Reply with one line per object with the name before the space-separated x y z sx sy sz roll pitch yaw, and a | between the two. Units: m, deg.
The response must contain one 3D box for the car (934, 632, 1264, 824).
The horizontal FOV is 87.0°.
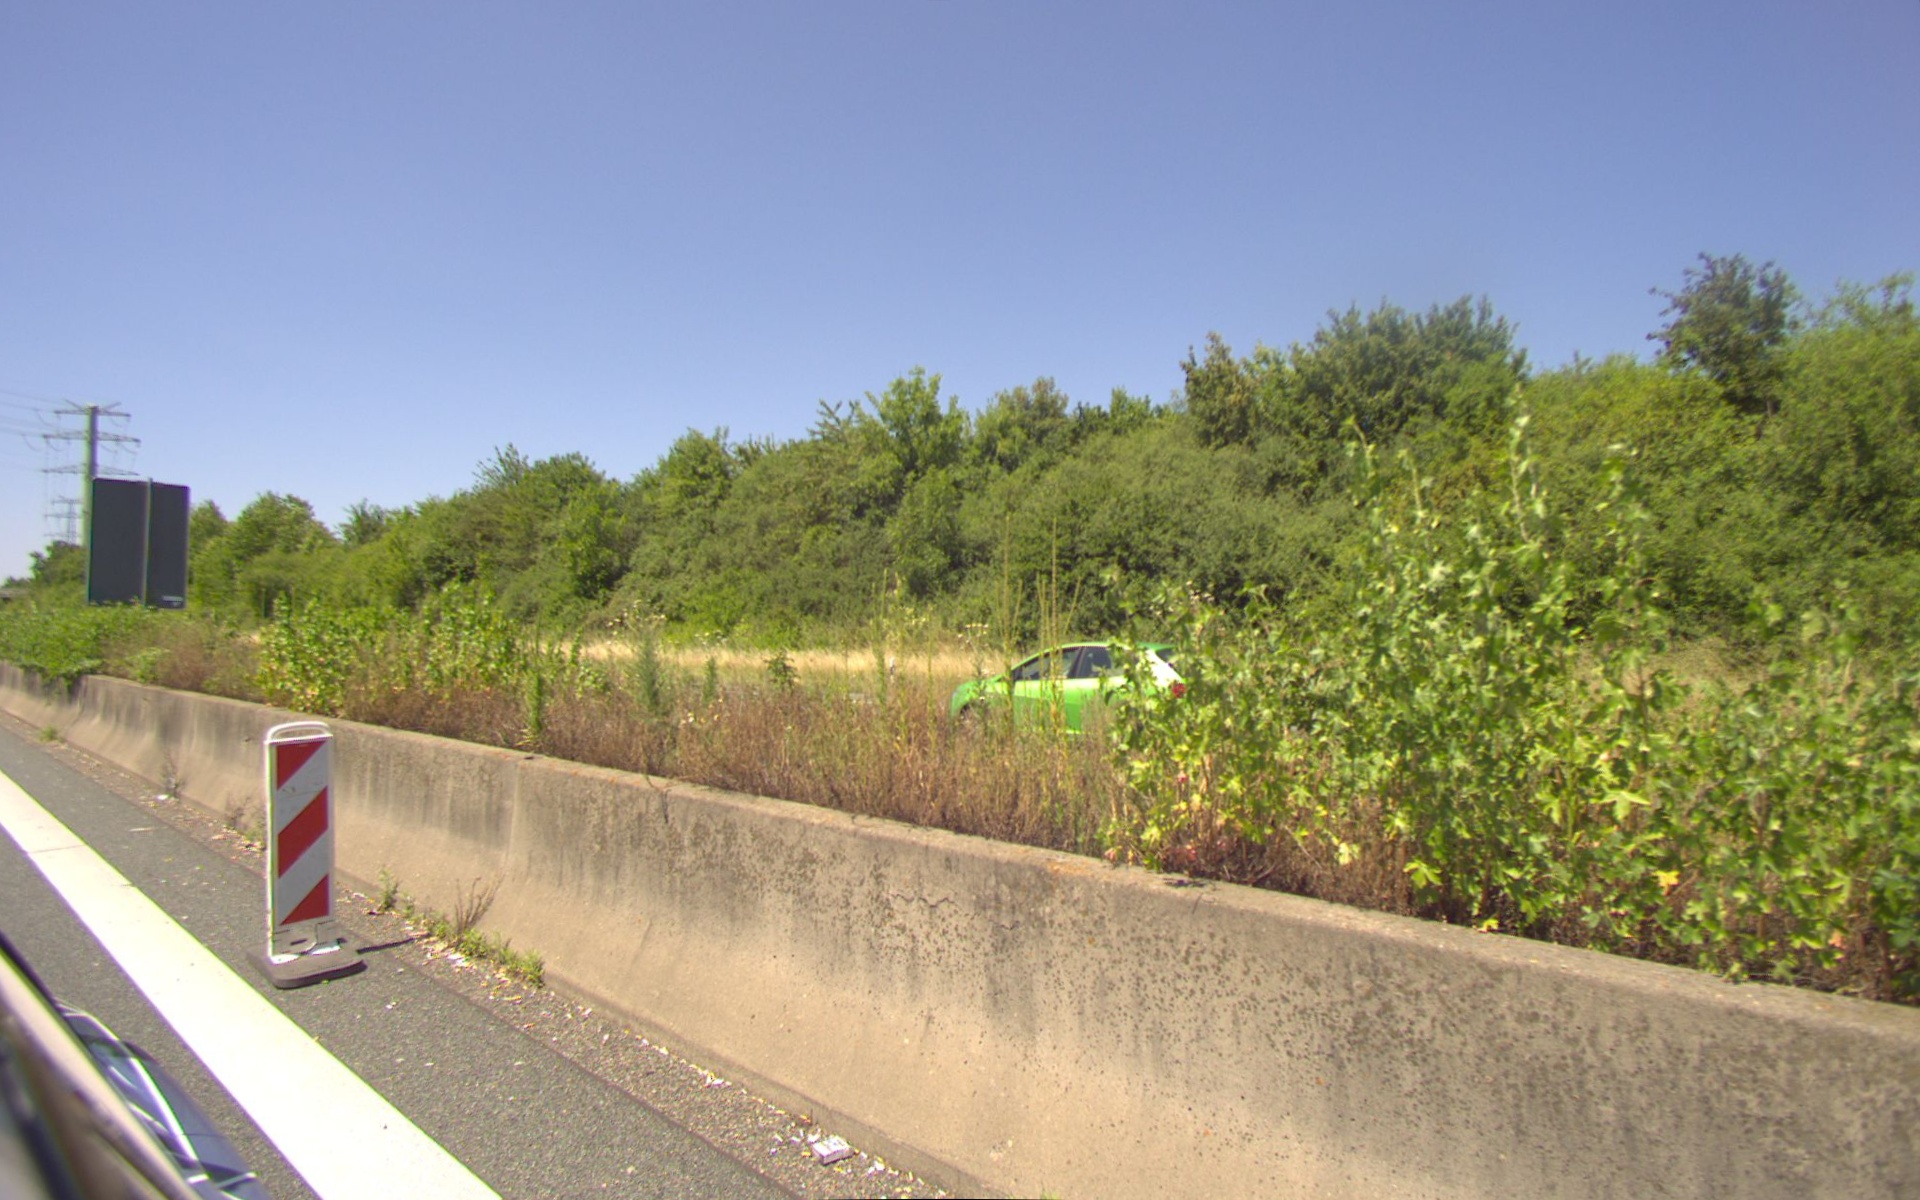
car | 1.657 1.416 12.676 3.677 2.029 1.882 -2 -2 41
